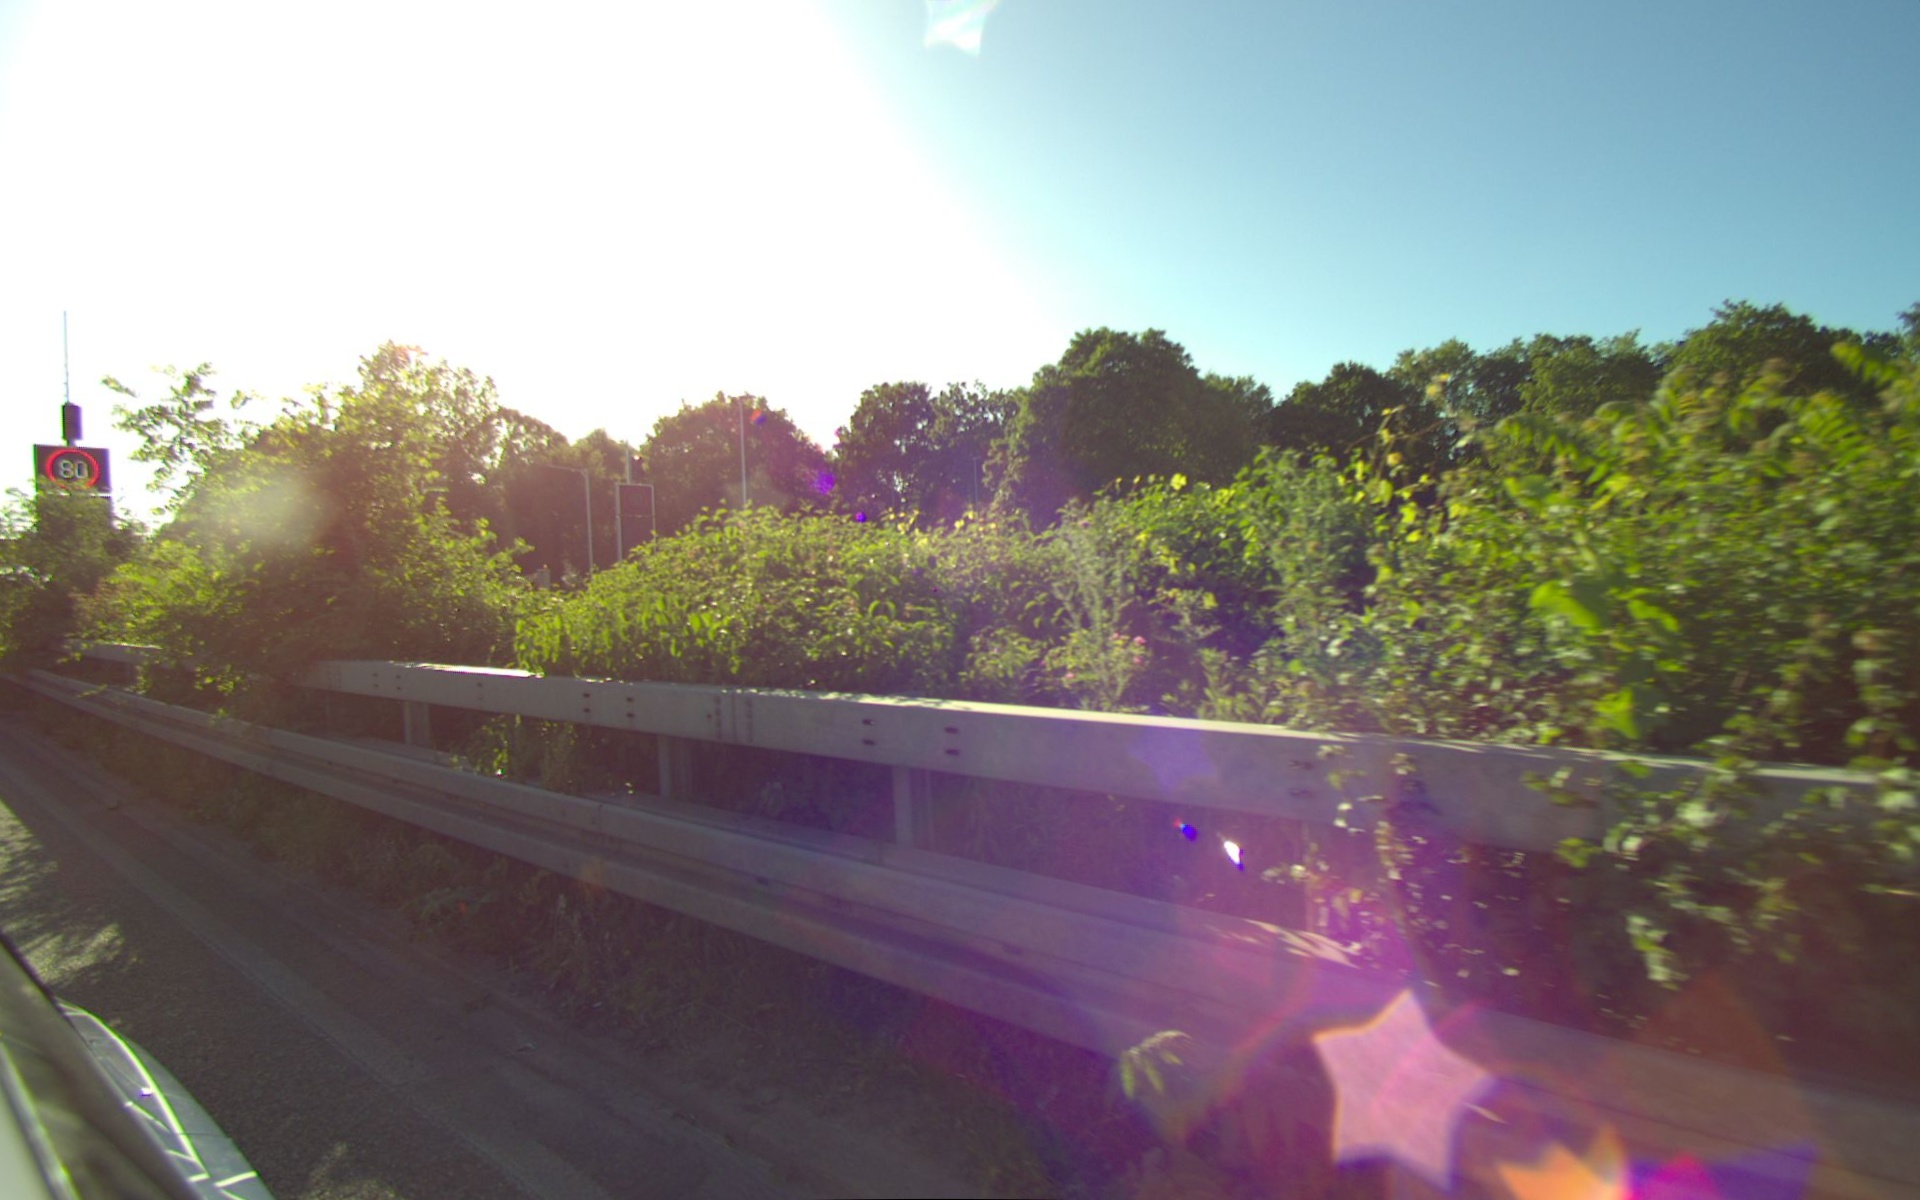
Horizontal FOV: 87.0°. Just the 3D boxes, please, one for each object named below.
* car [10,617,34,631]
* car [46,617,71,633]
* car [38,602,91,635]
[{"bbox_3d":[-110.331,2.864,119.008,4.534,1.590,1.767,-1,0,44],"label":"car"},{"bbox_3d":[-117.438,3.224,131.800,5.523,1.925,1.971,-1,0,44],"label":"car"},{"bbox_3d":[-49.030,0.977,55.388,4.163,1.586,1.698,1,4,43],"label":"car"}]
